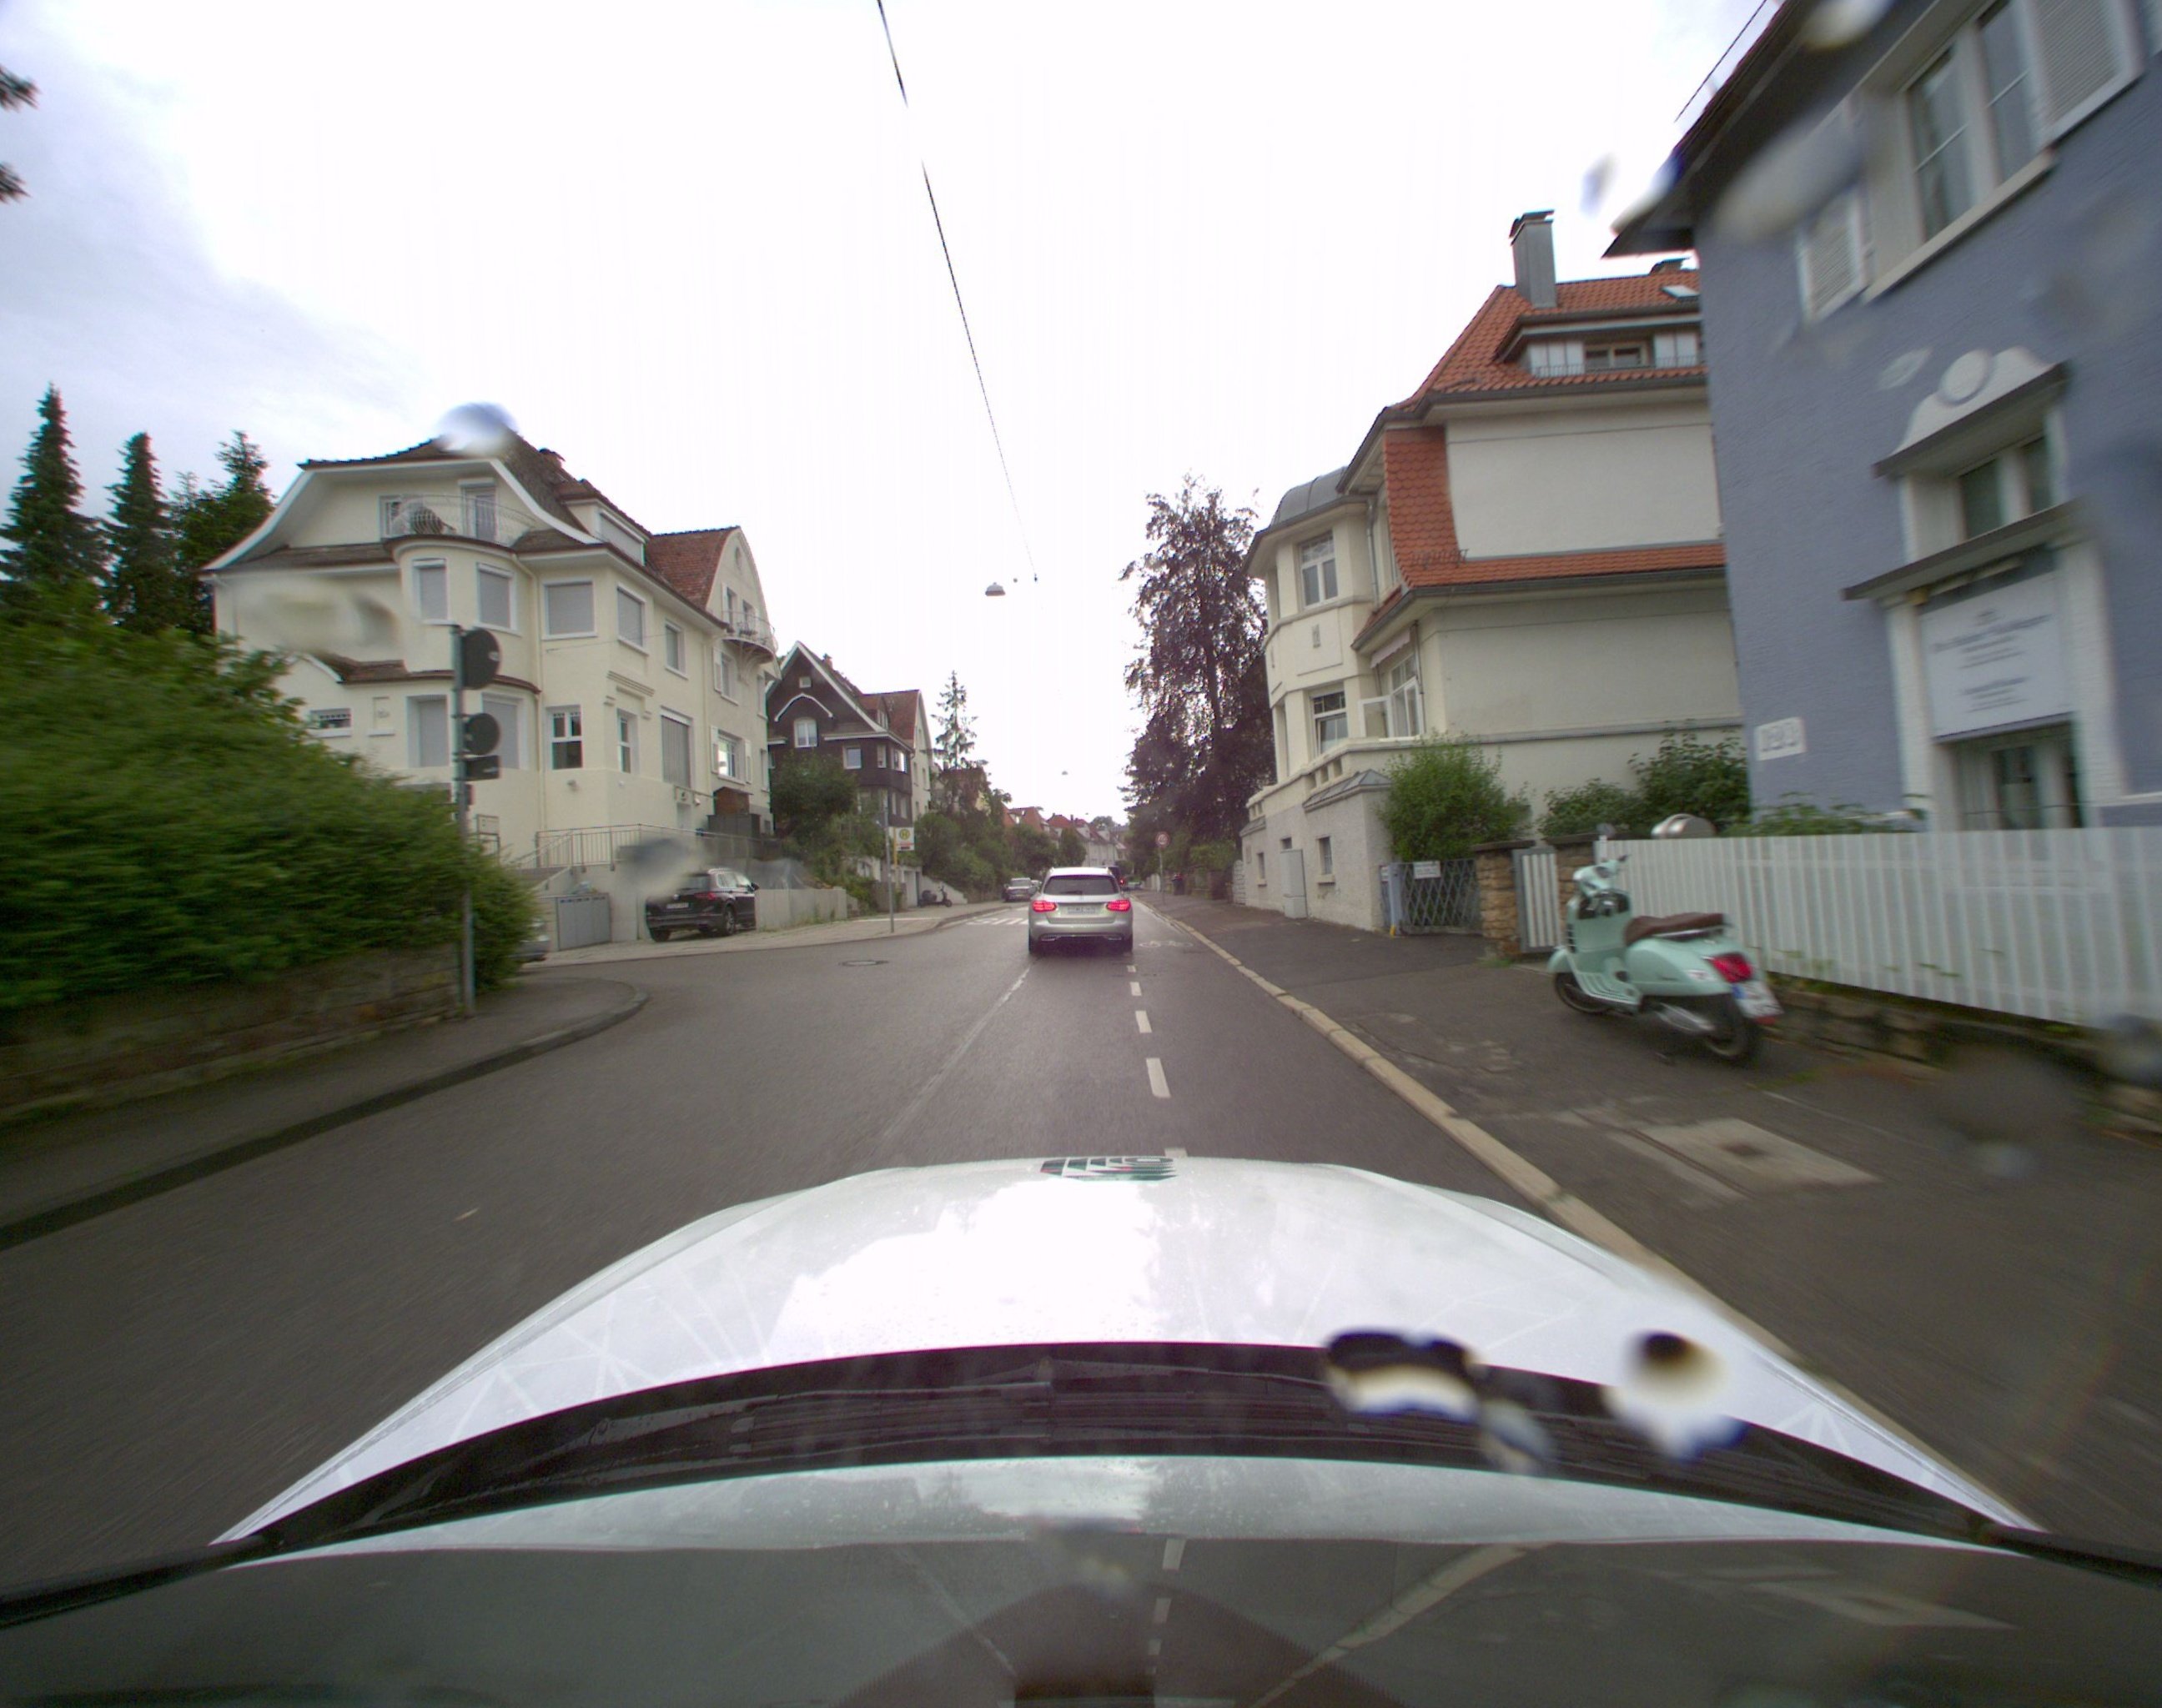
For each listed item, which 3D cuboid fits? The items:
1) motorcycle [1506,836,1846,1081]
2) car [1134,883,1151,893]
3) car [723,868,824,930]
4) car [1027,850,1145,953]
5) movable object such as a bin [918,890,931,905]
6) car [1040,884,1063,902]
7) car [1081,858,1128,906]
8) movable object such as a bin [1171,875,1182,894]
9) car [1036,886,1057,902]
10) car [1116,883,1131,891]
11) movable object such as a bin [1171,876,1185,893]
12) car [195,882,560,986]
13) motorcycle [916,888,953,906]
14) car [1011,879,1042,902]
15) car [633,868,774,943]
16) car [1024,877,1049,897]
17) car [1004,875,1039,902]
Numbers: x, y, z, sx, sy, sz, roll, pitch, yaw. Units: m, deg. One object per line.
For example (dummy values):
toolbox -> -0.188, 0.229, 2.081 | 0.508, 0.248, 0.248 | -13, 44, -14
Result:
motorcycle -> 3.765, 0.570, 5.472 | 0.689, 1.225, 2.157 | -10, -1, 6
car -> 12.234, 6.705, 162.251 | 1.976, 1.688, 4.702 | -3, -1, 22
car -> -9.649, 1.357, 25.854 | 1.761, 1.696, 3.996 | -3, -1, -3
car -> 0.053, 0.822, 14.906 | 1.811, 1.557, 3.997 | -2, -2, -1
movable object such as a bin -> -9.901, 2.727, 51.427 | 0.625, 0.889, 0.482 | -2, -1, -43
car -> -3.202, 4.195, 88.719 | 1.985, 1.879, 5.359 | -2, -2, 3
car -> 1.083, 1.247, 35.530 | 1.835, 1.904, 4.003 | -2, -3, 4
movable object such as a bin -> 5.096, 1.638, 43.451 | 0.492, 0.956, 0.503 | -3, -1, -1
car -> -3.405, 3.996, 81.608 | 1.688, 1.447, 3.815 | -3, -2, 2
car -> 7.850, 6.038, 149.230 | 1.631, 1.417, 4.631 | -3, -2, 16
movable object such as a bin -> 5.104, 1.623, 42.853 | 0.649, 0.855, 0.503 | -3, -1, -1
car -> -11.586, 1.277, 13.708 | 4.358, 1.556, 1.819 | 0, -1, -5
motorcycle -> -7.683, 2.264, 42.796 | 1.788, 0.903, 0.603 | -1, -2, 0
car -> -3.978, 2.648, 59.626 | 1.887, 1.447, 3.814 | -3, -1, 1
car -> -9.372, 1.206, 20.590 | 1.761, 1.618, 3.996 | -3, -1, -3
car -> -3.727, 2.786, 69.342 | 1.750, 1.447, 4.416 | -3, -1, 1
car -> -3.947, 2.282, 54.593 | 1.887, 1.622, 4.378 | -3, -2, 1
